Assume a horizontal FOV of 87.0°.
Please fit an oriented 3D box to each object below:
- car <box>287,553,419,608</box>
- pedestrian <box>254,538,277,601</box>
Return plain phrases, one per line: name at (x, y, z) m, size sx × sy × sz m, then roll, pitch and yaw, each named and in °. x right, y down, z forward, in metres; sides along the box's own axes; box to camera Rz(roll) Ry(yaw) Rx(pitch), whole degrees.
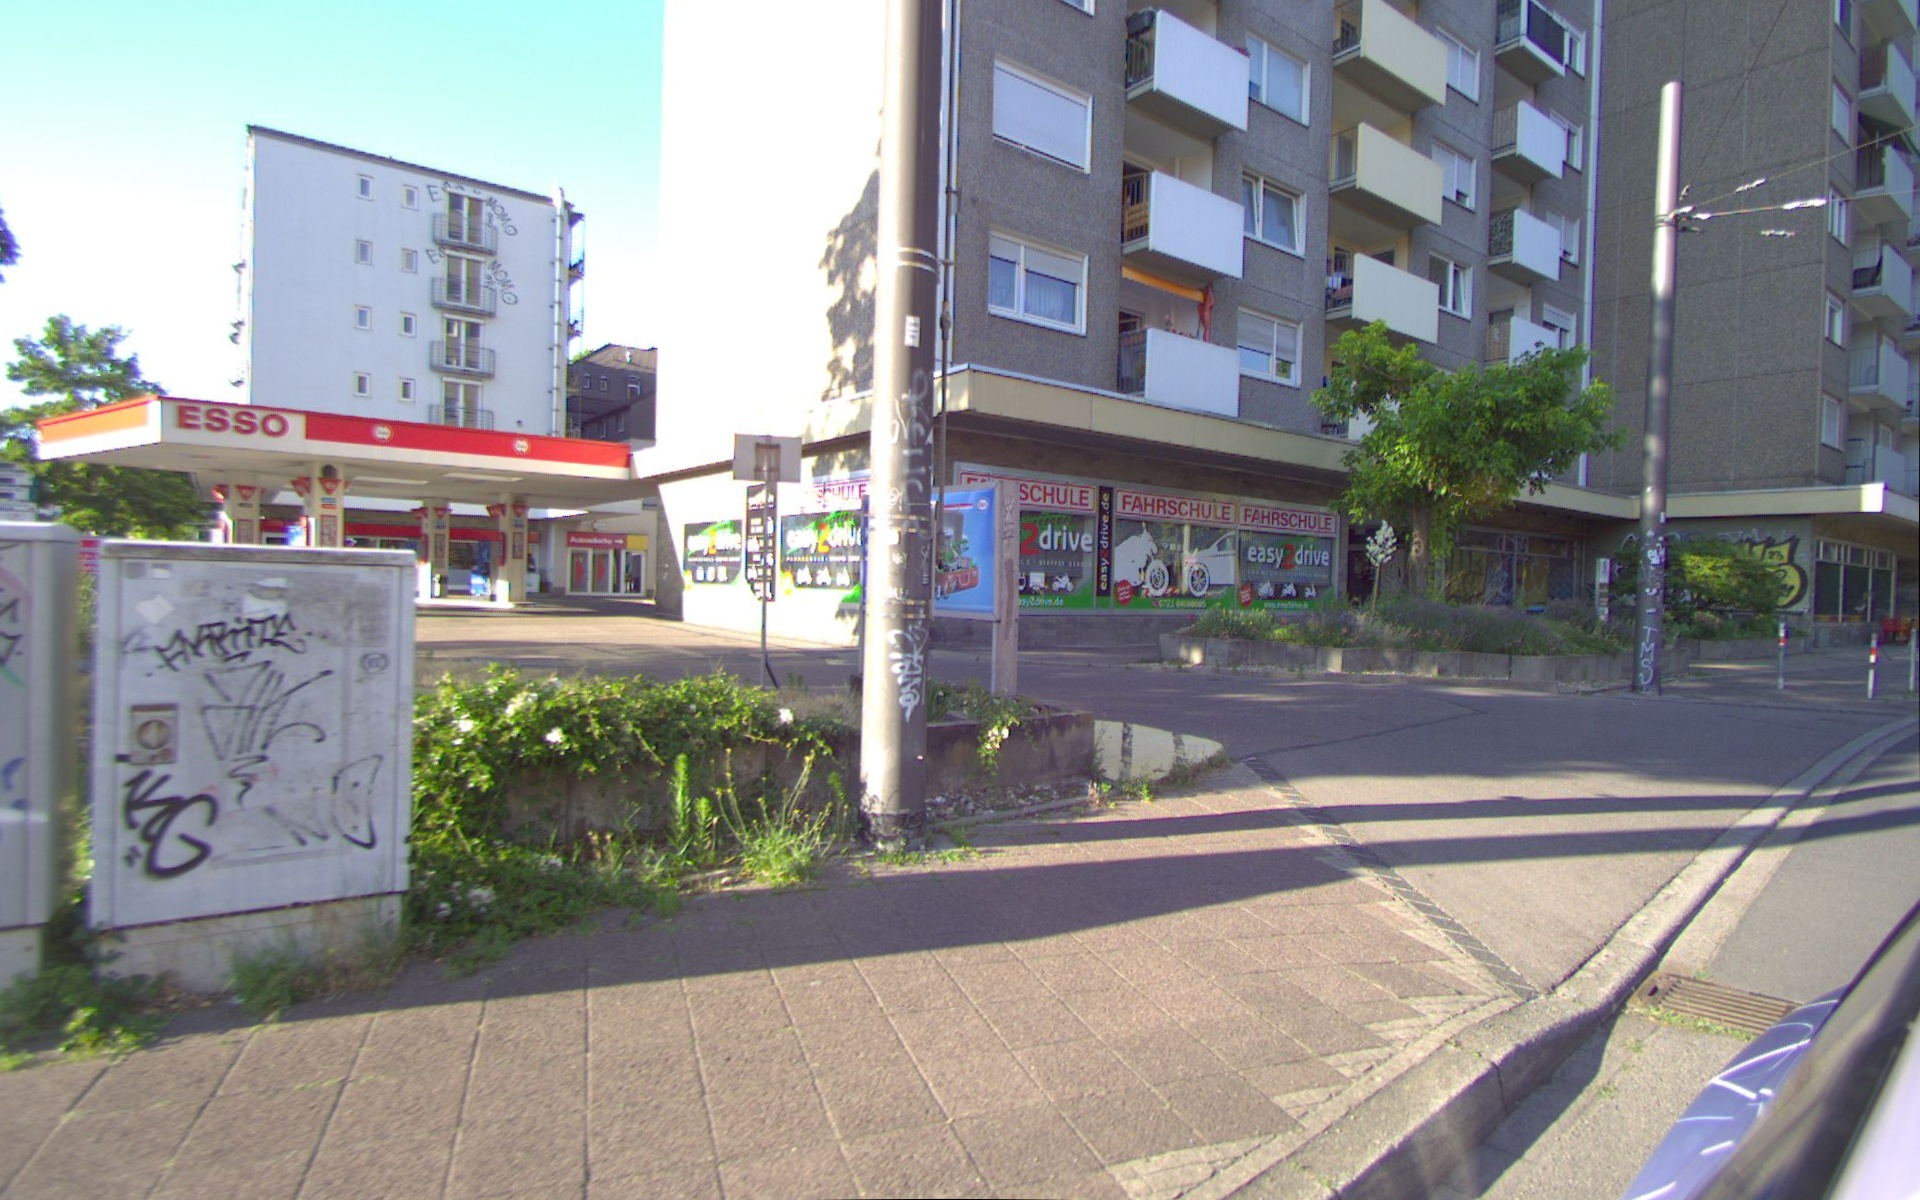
car at (-17.712, -0.588, 29.483) m, size 3.979 × 1.370 × 1.973 m, roll 4°, pitch 3°, yaw 38°
pedestrian at (-19.219, -0.849, 28.009) m, size 0.418 × 1.726 × 0.415 m, roll 2°, pitch 1°, yaw 38°
